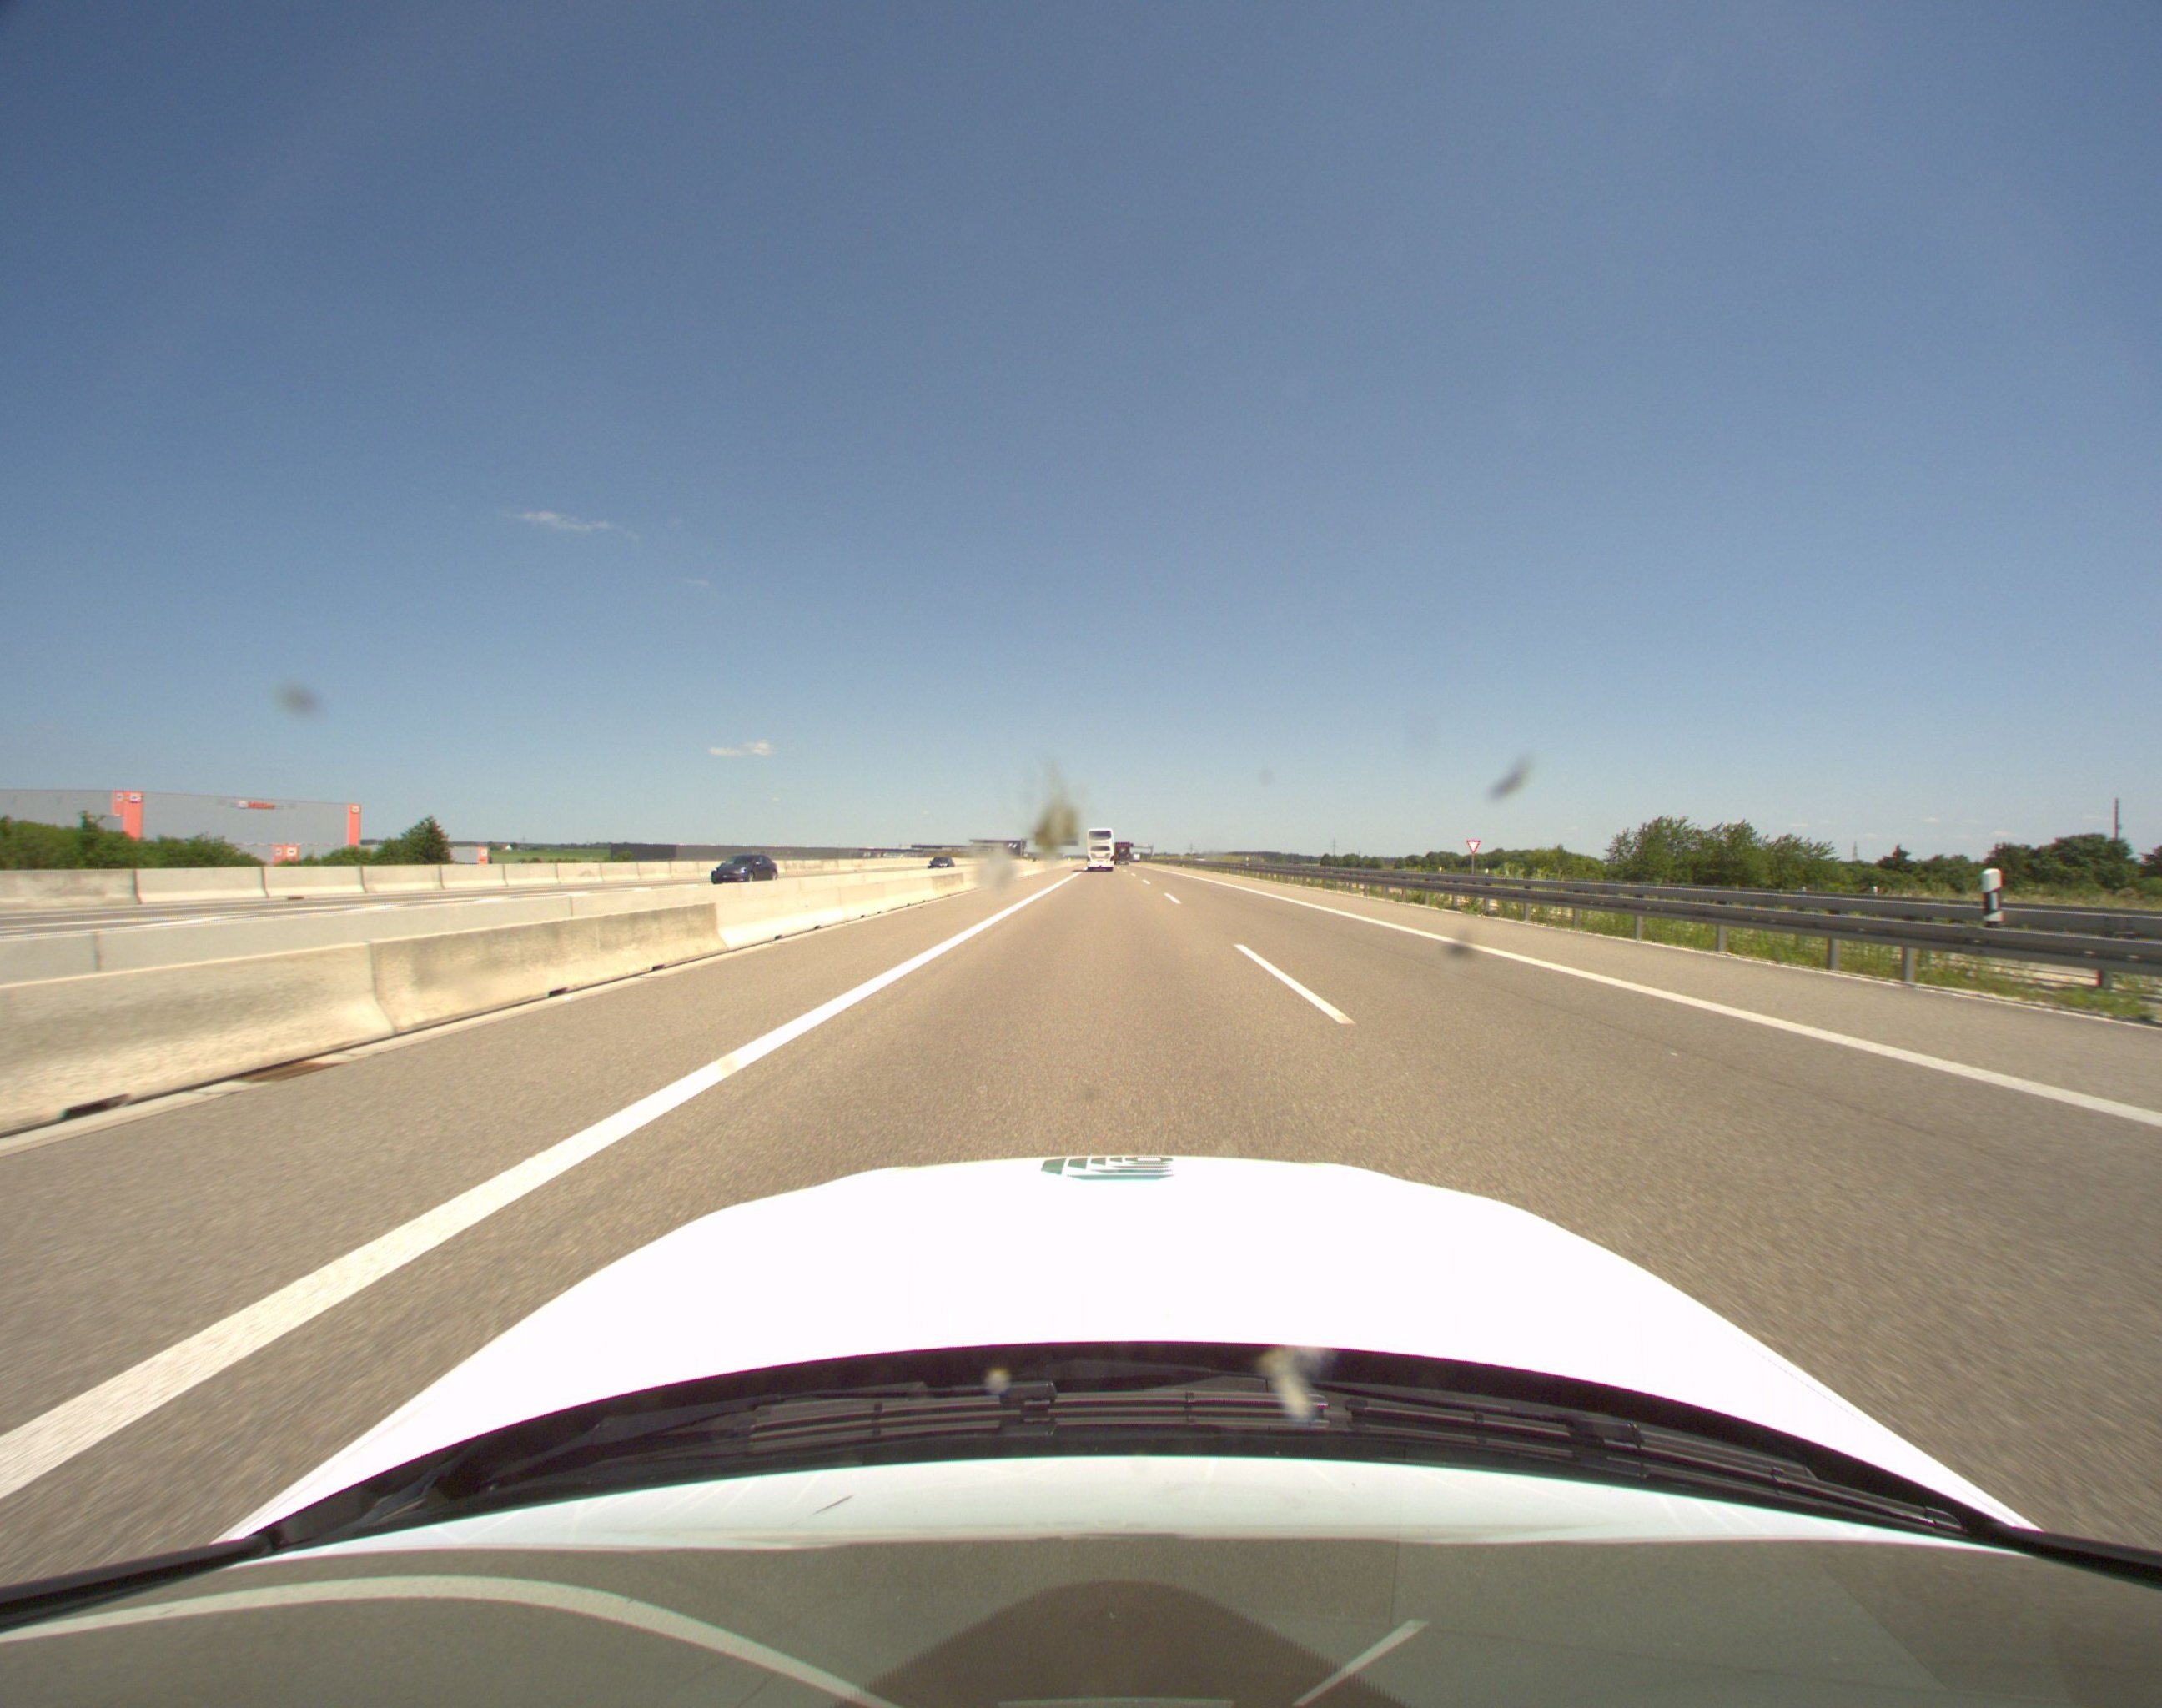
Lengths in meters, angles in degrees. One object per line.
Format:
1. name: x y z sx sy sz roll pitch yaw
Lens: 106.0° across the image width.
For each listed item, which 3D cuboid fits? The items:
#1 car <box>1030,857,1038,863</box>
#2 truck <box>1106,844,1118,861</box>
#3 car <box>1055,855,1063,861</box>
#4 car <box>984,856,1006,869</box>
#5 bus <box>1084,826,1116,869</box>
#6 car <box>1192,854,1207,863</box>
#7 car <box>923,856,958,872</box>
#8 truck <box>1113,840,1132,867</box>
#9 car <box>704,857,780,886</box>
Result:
1. car: -12.113 1.499 209.823 1.903 1.459 4.284 0 0 0
2. truck: 6.922 -0.405 182.411 2.429 3.789 6.494 0 0 1
3. car: -6.558 1.161 243.731 1.985 1.669 4.653 0 0 3
4. car: -9.842 0.953 93.486 1.835 1.420 4.527 0 0 2
5. bus: 1.779 -0.595 80.096 2.970 3.975 9.104 0 0 0
6. car: 20.108 0.710 137.919 1.885 1.529 4.261 0 0 0
7. car: -12.845 0.881 74.694 1.903 1.420 4.915 0 0 5
8. truck: 7.779 0.074 151.137 3.365 4.464 13.576 0 -2 4
9. car: -17.671 0.855 42.721 1.903 1.420 4.552 0 0 2
